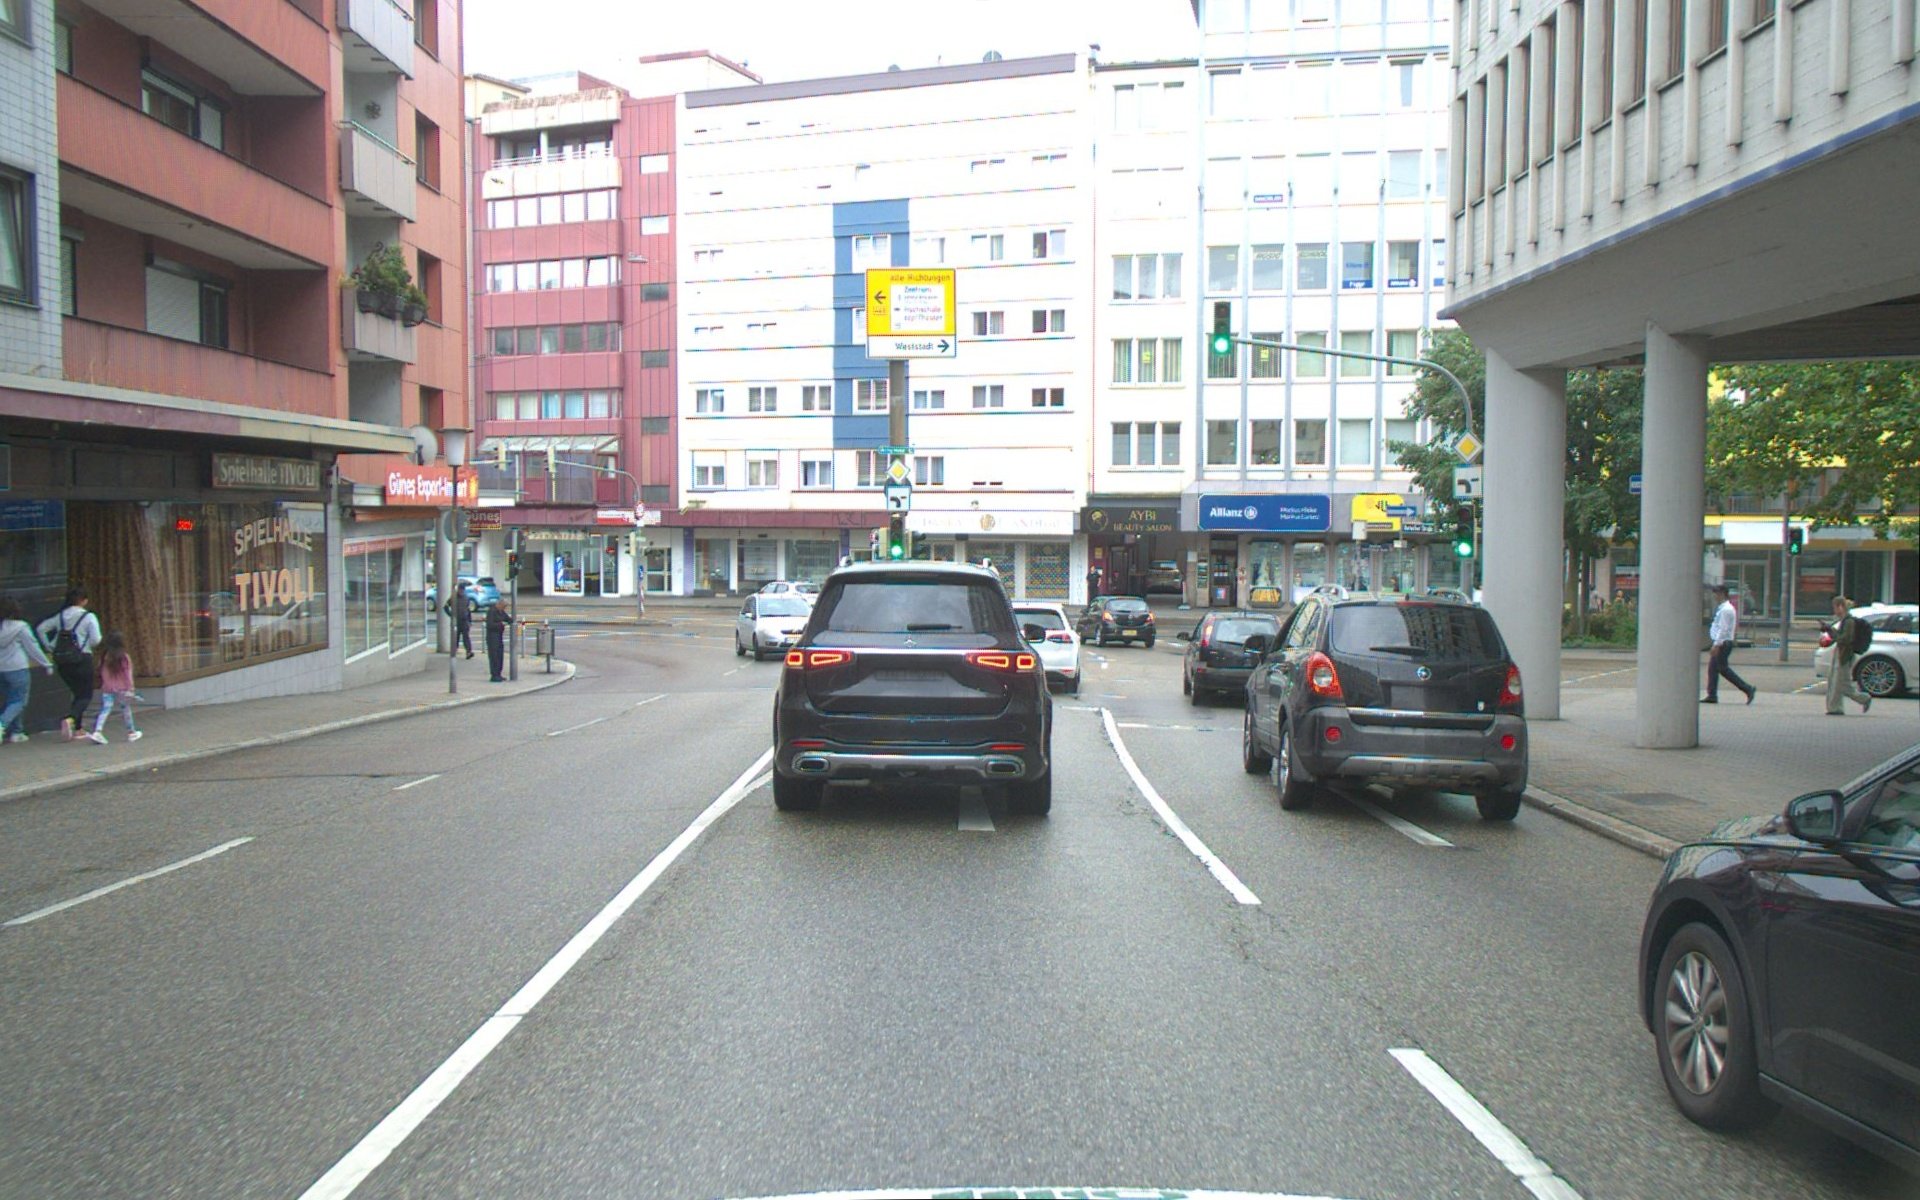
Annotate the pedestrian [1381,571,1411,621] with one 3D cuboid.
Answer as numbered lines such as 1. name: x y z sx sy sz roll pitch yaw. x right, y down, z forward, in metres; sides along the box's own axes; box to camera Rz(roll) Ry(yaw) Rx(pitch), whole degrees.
1. pedestrian: 16.633 -0.171 63.104 1.008 1.829 0.831 0 6 8

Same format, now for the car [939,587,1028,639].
1. car: 0.658 0.362 50.051 1.957 1.512 4.227 0 0 -10

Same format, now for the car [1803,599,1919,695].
1. car: 16.484 0.762 26.783 4.764 1.521 1.846 1 0 41

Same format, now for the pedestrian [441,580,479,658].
1. pedestrian: -12.344 0.461 40.834 0.751 1.881 0.836 0 0 -27

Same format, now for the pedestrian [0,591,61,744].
1. pedestrian: -10.287 0.708 17.796 0.812 1.588 0.722 3 0 -9

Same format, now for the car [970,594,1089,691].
1. car: 1.292 0.690 29.013 1.834 1.521 4.403 2 0 5

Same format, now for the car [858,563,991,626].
1. car: -1.403 -0.237 62.751 2.227 2.267 5.354 2 0 -38

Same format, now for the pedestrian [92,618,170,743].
1. pedestrian: -9.260 0.887 18.499 0.523 1.346 0.722 2 0 -9

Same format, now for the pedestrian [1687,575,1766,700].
1. pedestrian: 11.672 0.568 25.202 0.707 1.850 0.829 -1 -1 -7

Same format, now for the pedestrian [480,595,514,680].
1. pedestrian: -9.495 0.764 33.937 0.543 1.727 0.623 0 0 -4

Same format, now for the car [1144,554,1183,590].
1. car: 9.760 -1.312 79.240 1.759 1.699 4.003 0 0 8

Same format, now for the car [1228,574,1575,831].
1. car: 3.523 0.732 14.090 1.858 1.724 4.507 3 0 3

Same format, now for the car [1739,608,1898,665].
1. car: 27.139 1.134 52.402 4.099 1.437 1.832 2 5 14

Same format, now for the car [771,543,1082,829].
1. car: -0.291 0.560 13.230 1.998 1.830 4.661 2 0 -2

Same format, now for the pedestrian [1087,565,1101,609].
1. pedestrian: 5.477 -0.528 67.713 0.552 1.717 0.757 0 6 6

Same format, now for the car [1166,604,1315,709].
1. car: 4.417 0.839 26.576 1.730 1.421 4.001 4 0 1

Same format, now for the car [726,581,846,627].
1. car: -6.548 0.137 61.824 4.583 1.542 1.918 1 -2 44

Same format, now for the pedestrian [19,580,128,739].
1. pedestrian: -9.955 0.660 18.590 0.812 1.719 0.722 3 0 -9

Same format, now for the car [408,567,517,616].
1. car: -21.521 -0.382 71.586 4.078 1.870 1.999 3 0 23

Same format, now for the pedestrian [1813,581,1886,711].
1. pedestrian: 12.027 0.619 22.380 0.706 1.719 0.830 -2 -1 21

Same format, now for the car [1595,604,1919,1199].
1. car: 3.143 0.825 3.799 1.654 1.502 3.999 3 0 -2

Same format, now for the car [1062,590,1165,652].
1. car: 4.518 0.609 49.346 1.791 1.687 4.482 2 -1 -12

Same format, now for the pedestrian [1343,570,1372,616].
1. pedestrian: 15.459 -0.273 64.307 1.008 1.717 0.831 0 6 8

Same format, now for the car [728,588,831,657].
1. car: -4.699 0.583 42.579 1.709 1.620 4.151 -2 -1 -20
